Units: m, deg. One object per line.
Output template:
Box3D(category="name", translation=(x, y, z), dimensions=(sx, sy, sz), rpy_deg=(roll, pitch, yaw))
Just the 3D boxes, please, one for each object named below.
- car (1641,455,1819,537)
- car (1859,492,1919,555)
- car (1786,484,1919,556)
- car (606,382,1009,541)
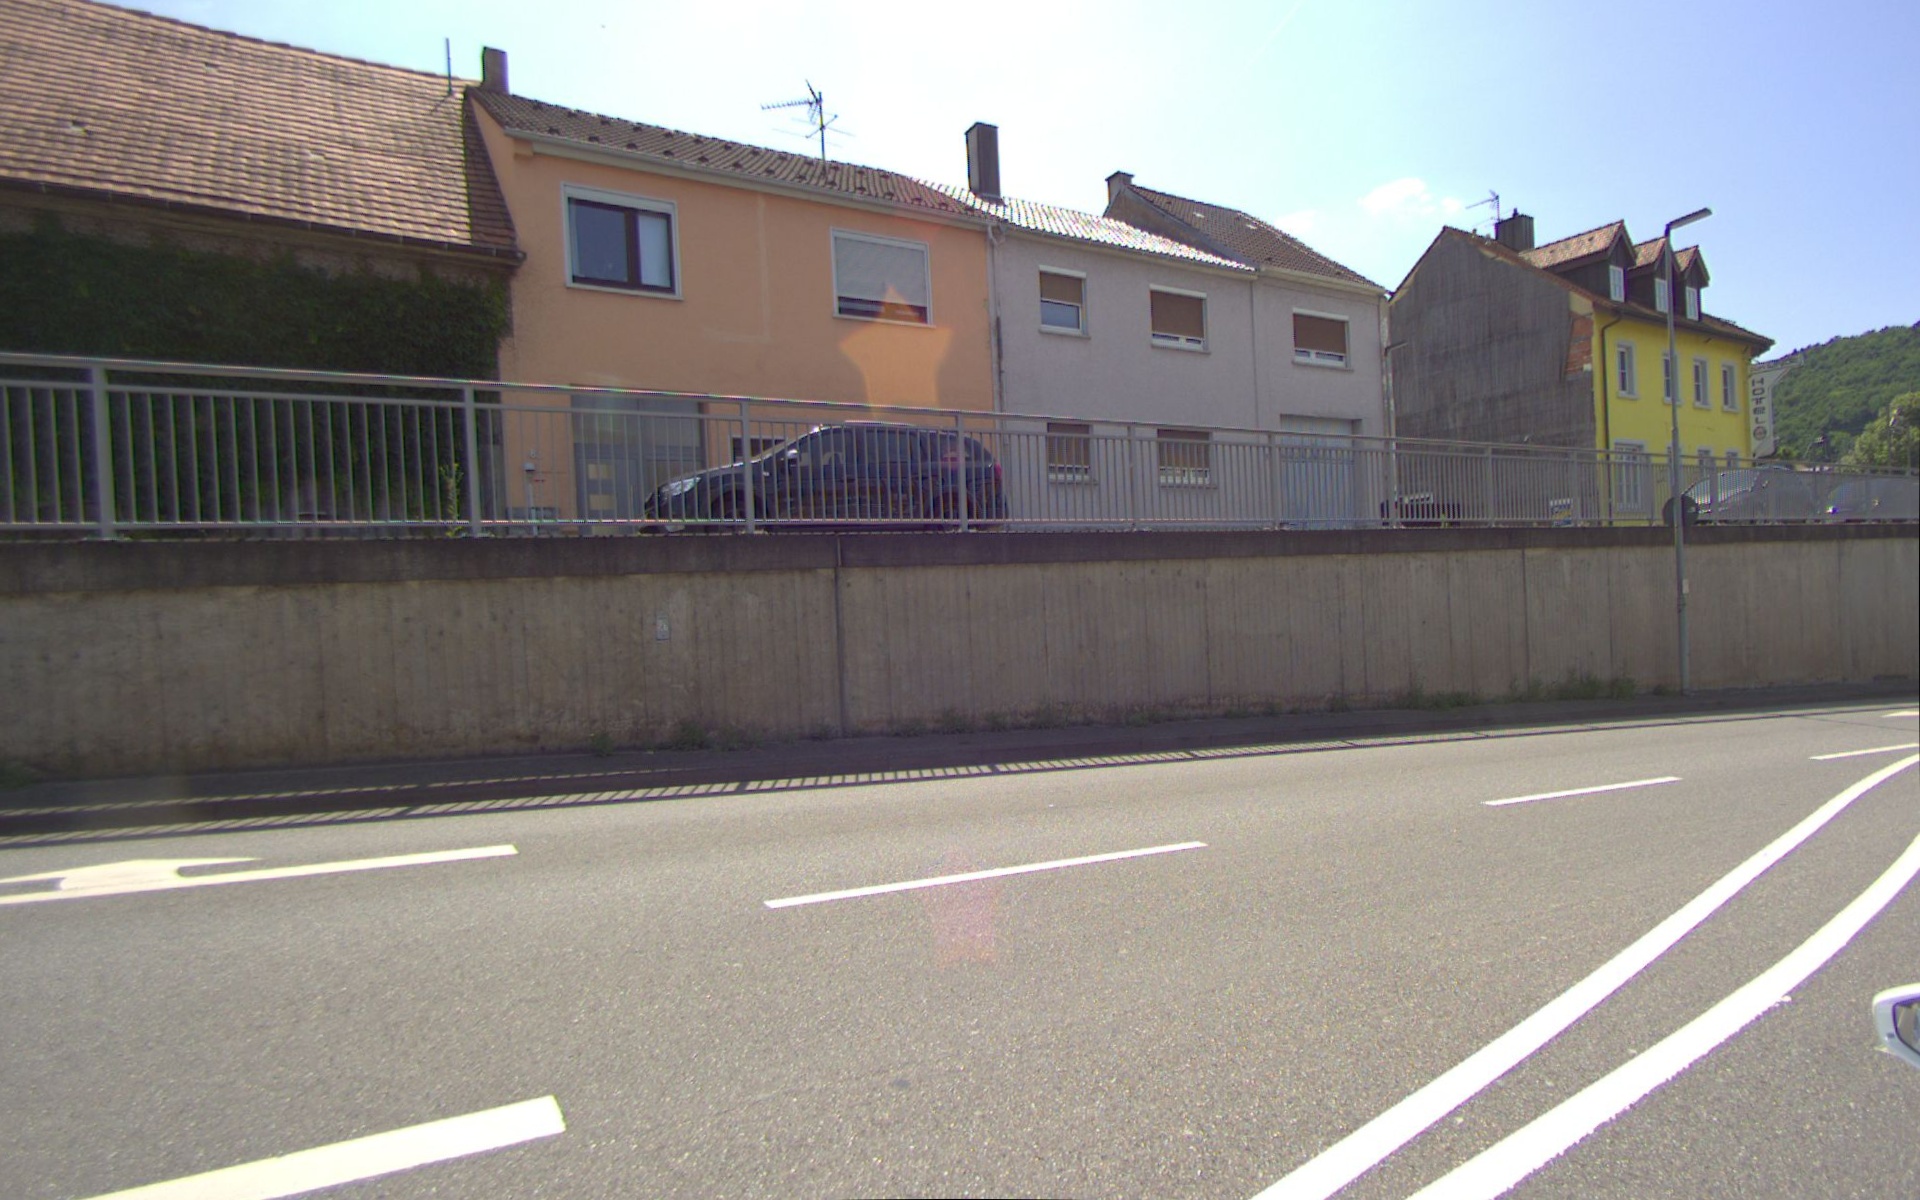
Box3D(category="car", translation=(17.509, -2.275, 22.794), dimensions=(4.344, 1.545, 1.789), rpy_deg=(-2, 0, -32))
Box3D(category="car", translation=(28.489, -2.221, 29.620), dimensions=(3.954, 1.690, 1.892), rpy_deg=(-2, 0, -32))
Box3D(category="car", translation=(24.324, -2.097, 27.170), dimensions=(4.175, 1.728, 1.813), rpy_deg=(-2, 0, -32))
Box3D(category="car", translation=(-1.714, -1.476, 11.833), dimensions=(4.344, 1.424, 1.776), rpy_deg=(-2, 0, -32))
